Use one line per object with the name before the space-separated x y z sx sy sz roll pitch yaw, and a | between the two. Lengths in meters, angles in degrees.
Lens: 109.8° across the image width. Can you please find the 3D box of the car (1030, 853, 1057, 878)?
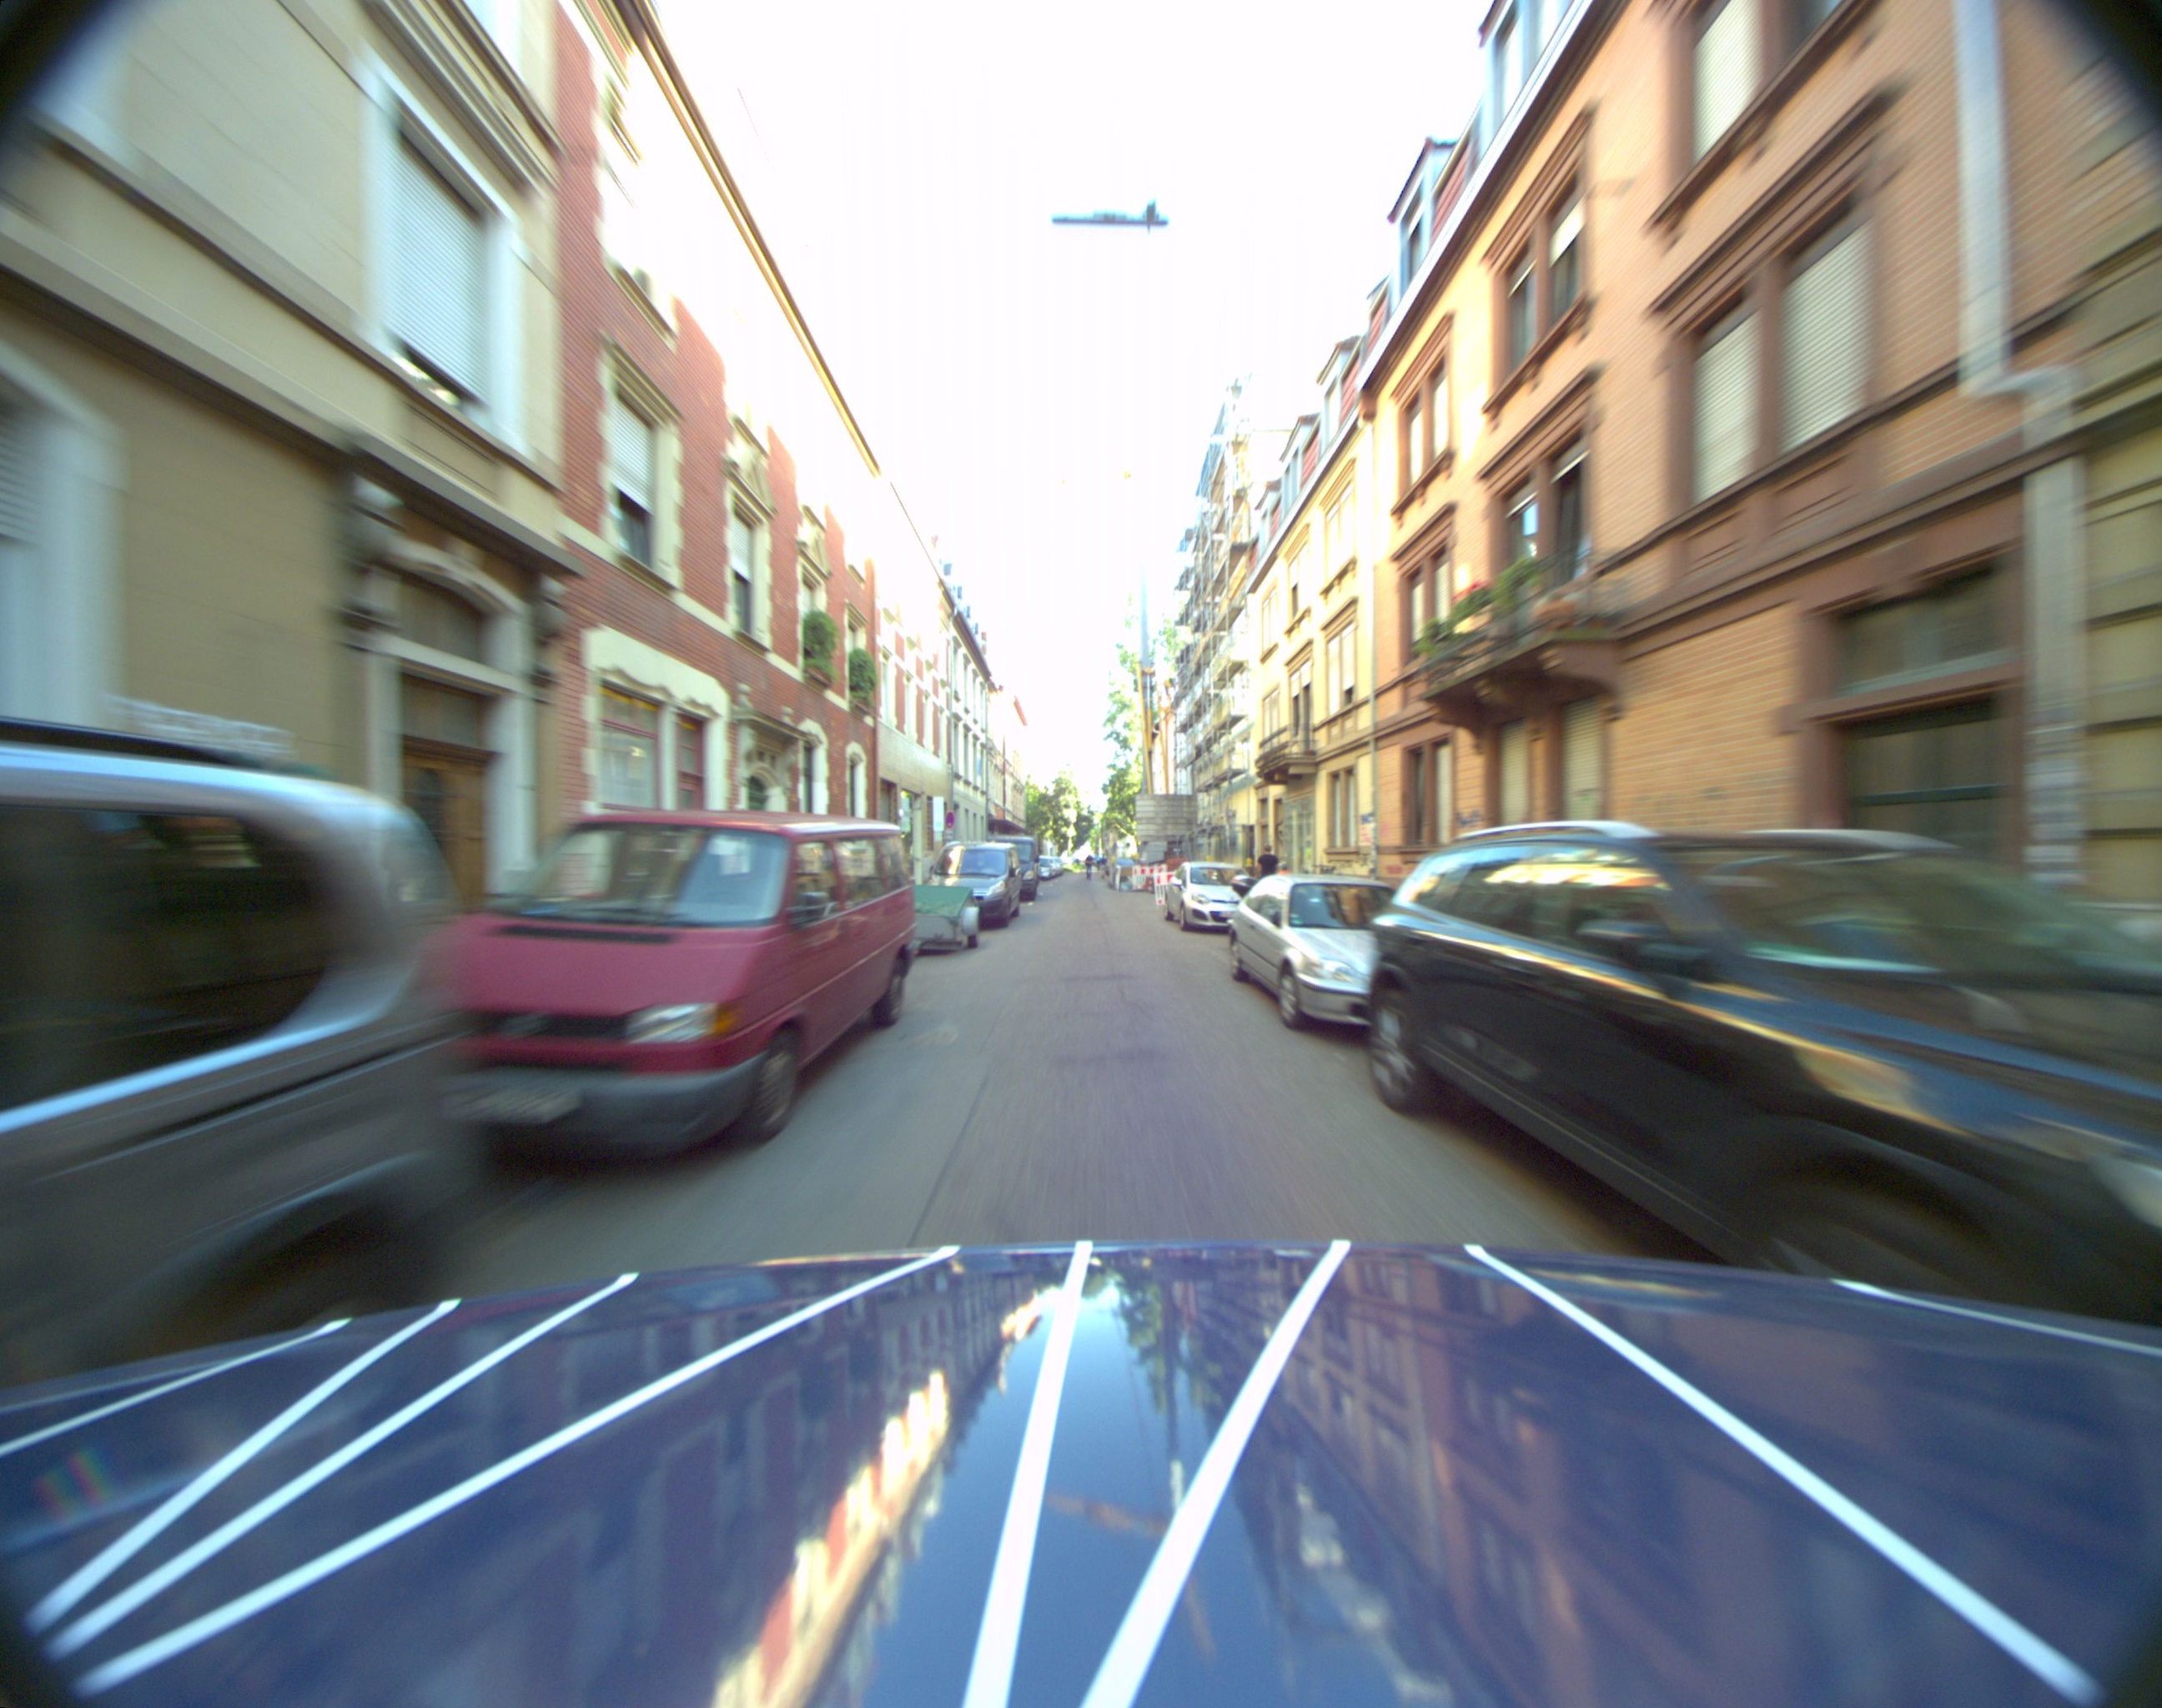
car | -2.572 0.759 52.140 1.525 1.525 3.463 5 0 0

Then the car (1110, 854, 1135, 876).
car | 2.986 0.796 55.201 1.646 1.483 4.000 -1 0 0

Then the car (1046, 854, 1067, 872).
car | -2.184 0.801 68.544 1.646 1.442 4.166 -2 0 0

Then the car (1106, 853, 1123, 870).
car | 3.109 0.700 70.355 1.464 1.512 3.660 0 0 0

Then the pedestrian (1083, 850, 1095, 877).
pedestrian | 0.542 0.604 48.509 0.740 1.743 0.997 -1 1 1

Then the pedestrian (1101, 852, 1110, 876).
pedestrian | 1.712 0.685 52.987 0.594 1.634 0.813 1 1 0

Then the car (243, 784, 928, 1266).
car | -2.591 0.725 5.614 1.836 2.002 4.741 -2 0 1

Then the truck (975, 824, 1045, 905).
truck | -2.577 0.339 29.034 2.154 2.642 6.251 4 0 -2

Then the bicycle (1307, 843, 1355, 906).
bicycle | 5.951 0.459 18.161 0.525 1.417 1.712 -4 1 1

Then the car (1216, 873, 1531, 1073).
car | 2.638 0.981 7.928 1.703 1.306 3.999 -4 1 0

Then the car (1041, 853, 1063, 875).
car | -2.333 0.784 62.114 1.603 1.626 3.774 -3 0 0

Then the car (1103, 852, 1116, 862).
car | 4.144 0.429 110.671 1.759 1.293 4.248 0 0 0

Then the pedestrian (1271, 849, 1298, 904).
pedestrian | 4.903 0.534 18.360 0.451 1.276 0.647 -2 1 1

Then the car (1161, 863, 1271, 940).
car | 2.843 0.949 16.816 1.678 1.410 3.999 1 0 -1

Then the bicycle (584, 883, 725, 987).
bicycle | -5.455 0.985 9.872 0.703 1.115 1.898 3 0 0

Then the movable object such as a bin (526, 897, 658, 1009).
movable object such as a bin | -5.135 1.018 8.024 0.898 1.055 0.722 2 1 -2

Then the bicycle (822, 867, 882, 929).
bicycle | -5.095 0.941 17.011 0.670 1.215 1.991 2 1 1

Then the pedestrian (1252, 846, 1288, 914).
pedestrian | 4.978 0.667 20.090 0.687 1.755 0.887 0 1 -3

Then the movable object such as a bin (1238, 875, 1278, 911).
movable object such as a bin | 4.934 1.075 21.251 0.764 0.926 1.415 -1 0 -2

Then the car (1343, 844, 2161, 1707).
car | 2.674 0.802 2.904 1.792 1.615 4.608 -2 0 1

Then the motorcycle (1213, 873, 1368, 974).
motorcycle | 3.254 1.033 11.982 0.846 1.352 2.190 1 1 -42

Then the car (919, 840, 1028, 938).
car | -2.391 0.721 18.119 1.849 1.972 4.575 -3 0 0

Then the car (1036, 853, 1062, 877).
car | -2.349 0.759 56.593 1.603 1.652 4.060 -3 0 0

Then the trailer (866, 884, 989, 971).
trailer | -2.536 1.192 13.199 1.509 1.106 3.038 -4 0 -1

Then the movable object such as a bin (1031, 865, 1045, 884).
movable object such as a bin | -2.362 1.112 41.701 0.742 1.051 0.687 0 1 0

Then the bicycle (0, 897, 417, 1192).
bicycle | -5.086 0.969 4.521 0.729 1.296 1.692 3 1 1
